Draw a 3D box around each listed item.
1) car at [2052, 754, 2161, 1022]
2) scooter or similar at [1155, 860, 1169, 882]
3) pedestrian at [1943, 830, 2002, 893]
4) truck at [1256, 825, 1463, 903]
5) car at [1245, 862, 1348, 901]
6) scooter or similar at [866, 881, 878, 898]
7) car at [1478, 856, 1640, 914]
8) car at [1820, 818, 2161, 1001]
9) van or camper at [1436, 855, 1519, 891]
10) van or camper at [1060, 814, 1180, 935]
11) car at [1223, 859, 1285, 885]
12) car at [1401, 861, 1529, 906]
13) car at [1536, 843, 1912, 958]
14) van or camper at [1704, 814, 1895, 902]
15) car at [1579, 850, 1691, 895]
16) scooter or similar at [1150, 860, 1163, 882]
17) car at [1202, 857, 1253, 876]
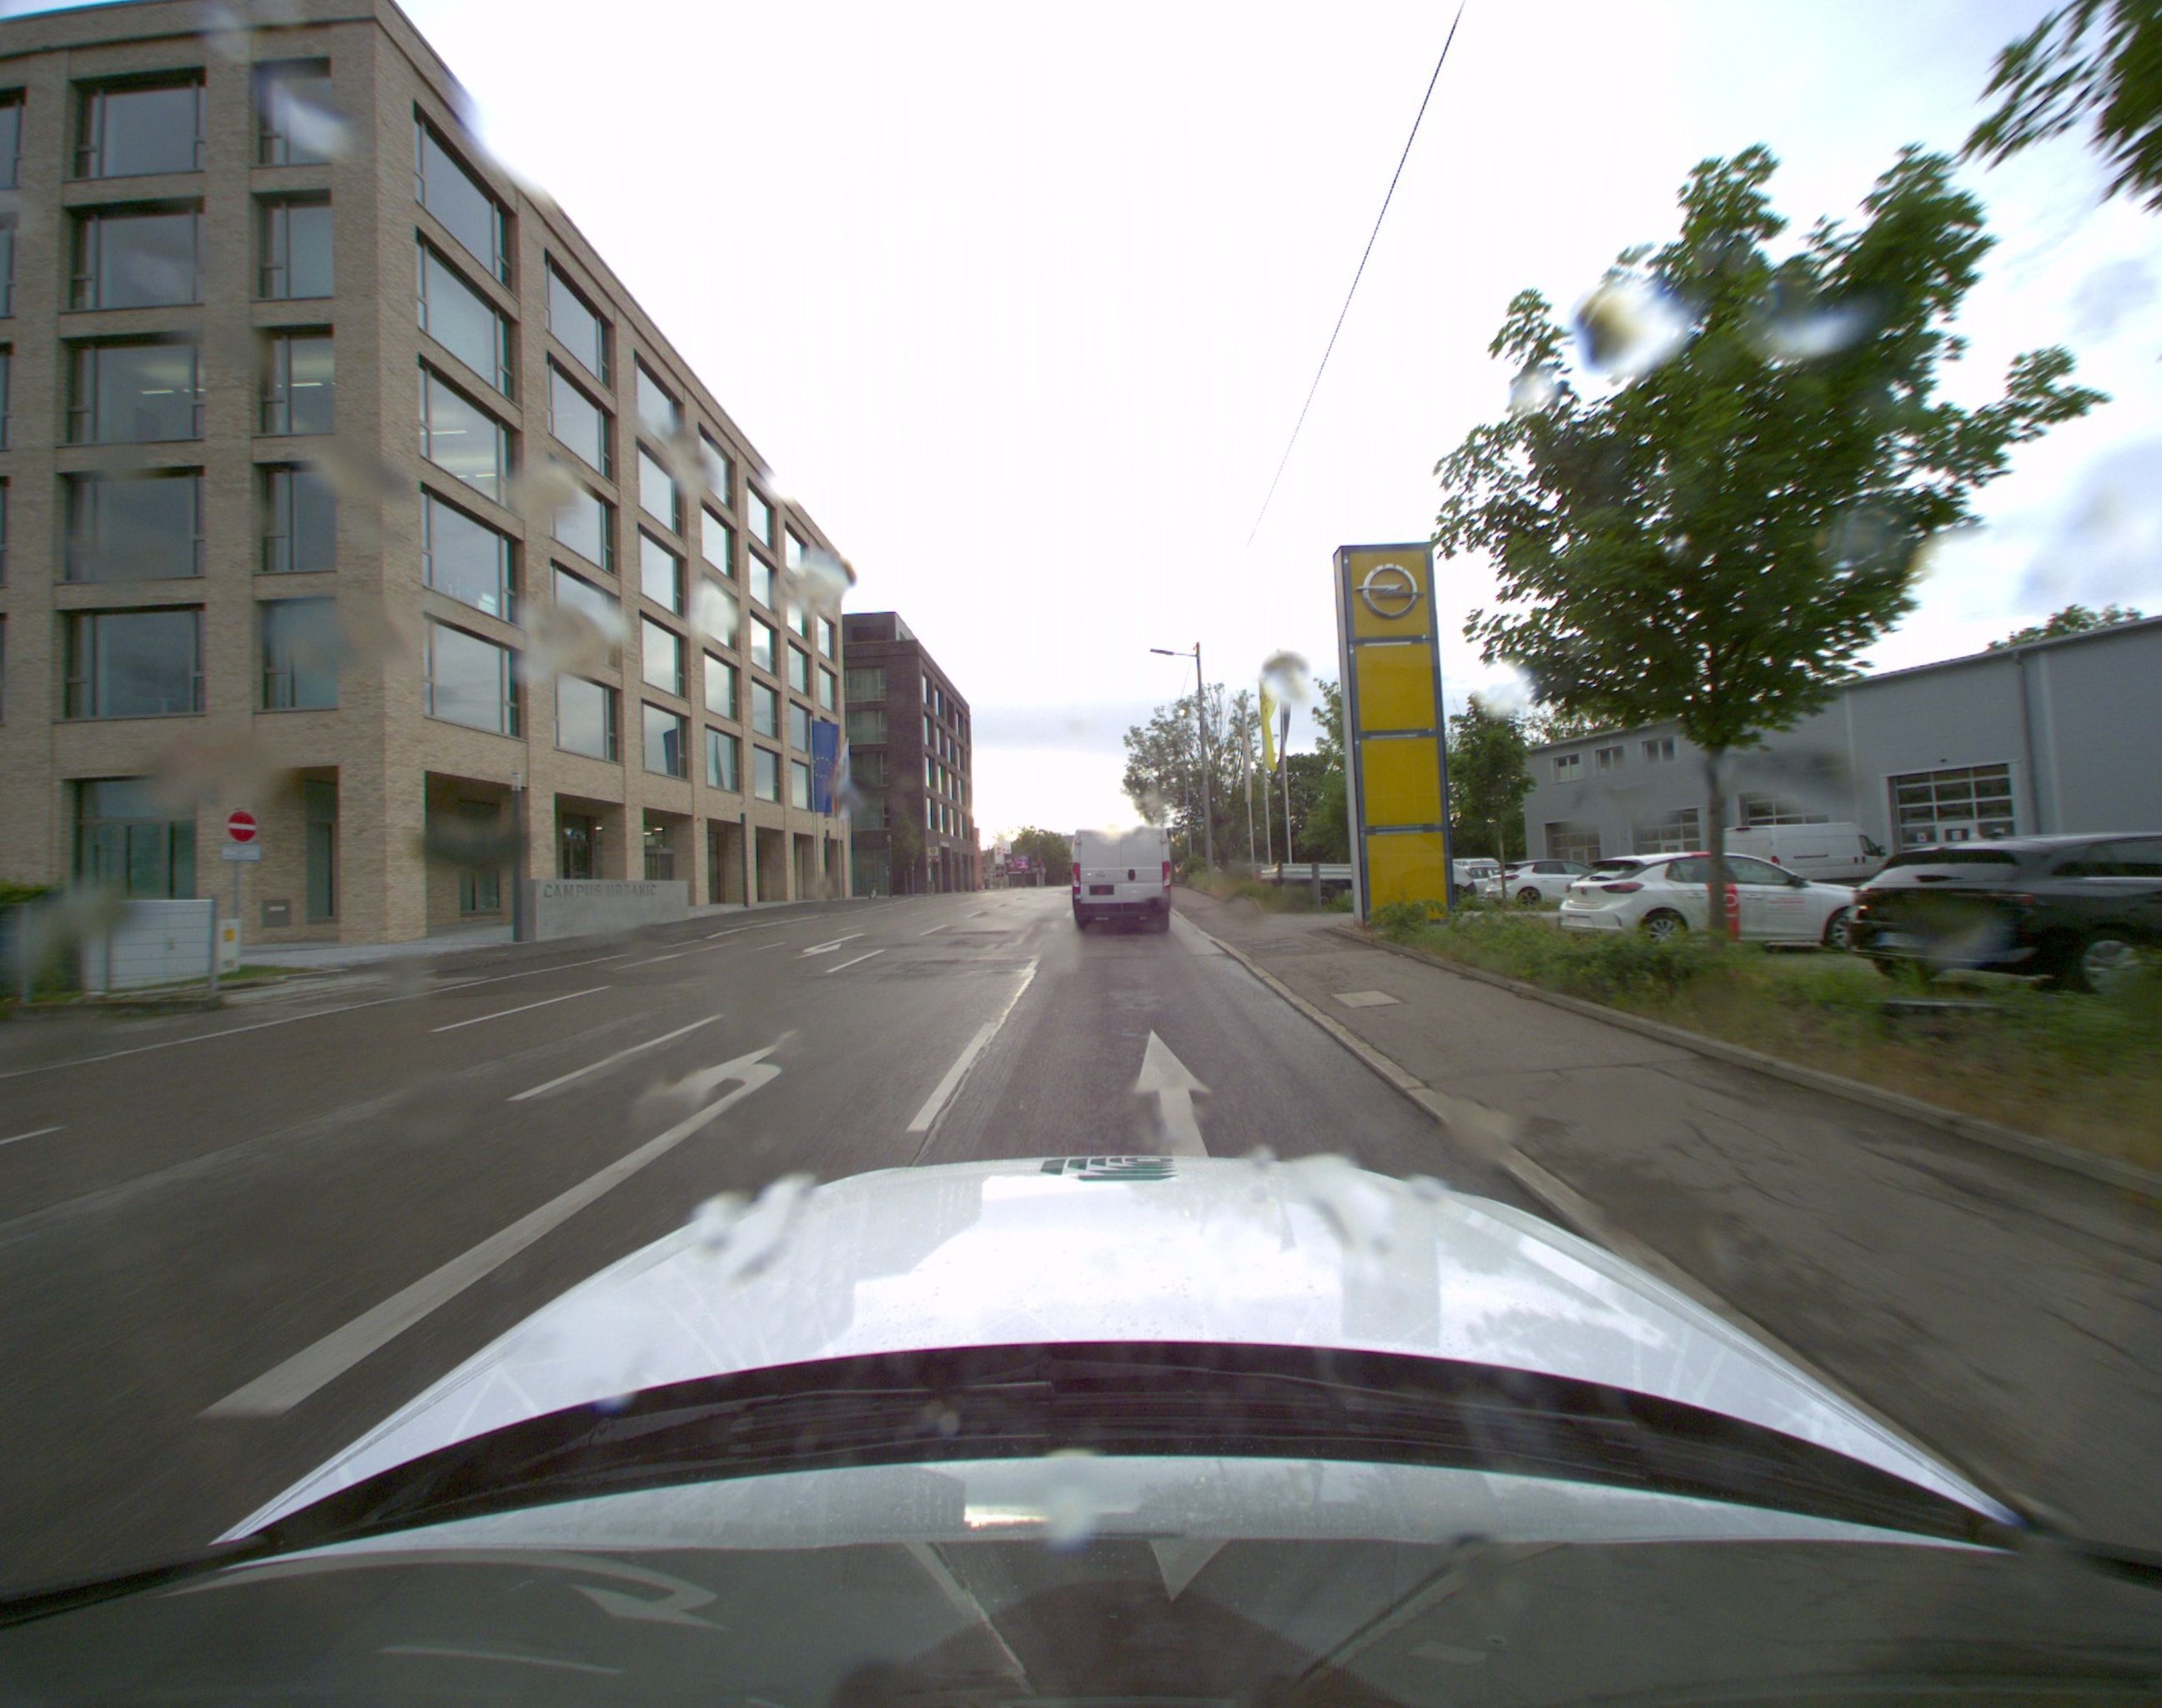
[{"bbox_3d":[9.471,0.165,5.175,4.109,1.847,1.844,-2,-3,3],"label":"car"},{"bbox_3d":[5.965,1.242,59.930,0.436,1.564,1.264,-1,0,-20],"label":"scooter or similar"},{"bbox_3d":[27.376,0.230,25.012,0.696,1.881,1.014,-1,0,-22],"label":"pedestrian"},{"bbox_3d":[7.839,0.266,23.356,5.132,2.013,2.345,-1,0,-1],"label":"truck"},{"bbox_3d":[9.449,1.193,35.941,4.113,1.589,1.761,-1,0,2],"label":"car"},{"bbox_3d":[-13.450,2.252,52.439,0.349,1.072,1.429,-2,-2,3],"label":"scooter or similar"},{"bbox_3d":[13.640,0.872,23.377,3.676,1.519,1.558,-2,-1,2],"label":"car"},{"bbox_3d":[9.480,0.454,7.332,3.972,1.431,1.748,-1,-3,2],"label":"car"},{"bbox_3d":[21.717,0.975,44.889,1.985,1.788,5.619,-1,0,3],"label":"van or camper"},{"bbox_3d":[0.903,0.418,18.811,2.330,2.357,5.203,-1,0,3],"label":"van or camper"},{"bbox_3d":[12.693,1.306,59.858,3.979,1.521,1.801,-6,-1,-4],"label":"car"},{"bbox_3d":[13.238,1.021,28.248,3.674,1.418,1.632,-2,-1,4],"label":"car"},{"bbox_3d":[9.209,0.635,11.956,3.971,1.428,1.896,-2,0,2],"label":"car"},{"bbox_3d":[24.180,0.100,27.447,5.280,2.489,2.275,-4,0,-16],"label":"van or camper"},{"bbox_3d":[23.952,0.786,35.230,3.997,1.601,1.830,-4,0,-17],"label":"car"},{"bbox_3d":[5.542,1.240,59.763,0.436,1.587,1.264,-1,0,-20],"label":"scooter or similar"},{"bbox_3d":[12.697,1.104,70.743,3.978,1.522,1.801,-2,-1,-4],"label":"car"}]
